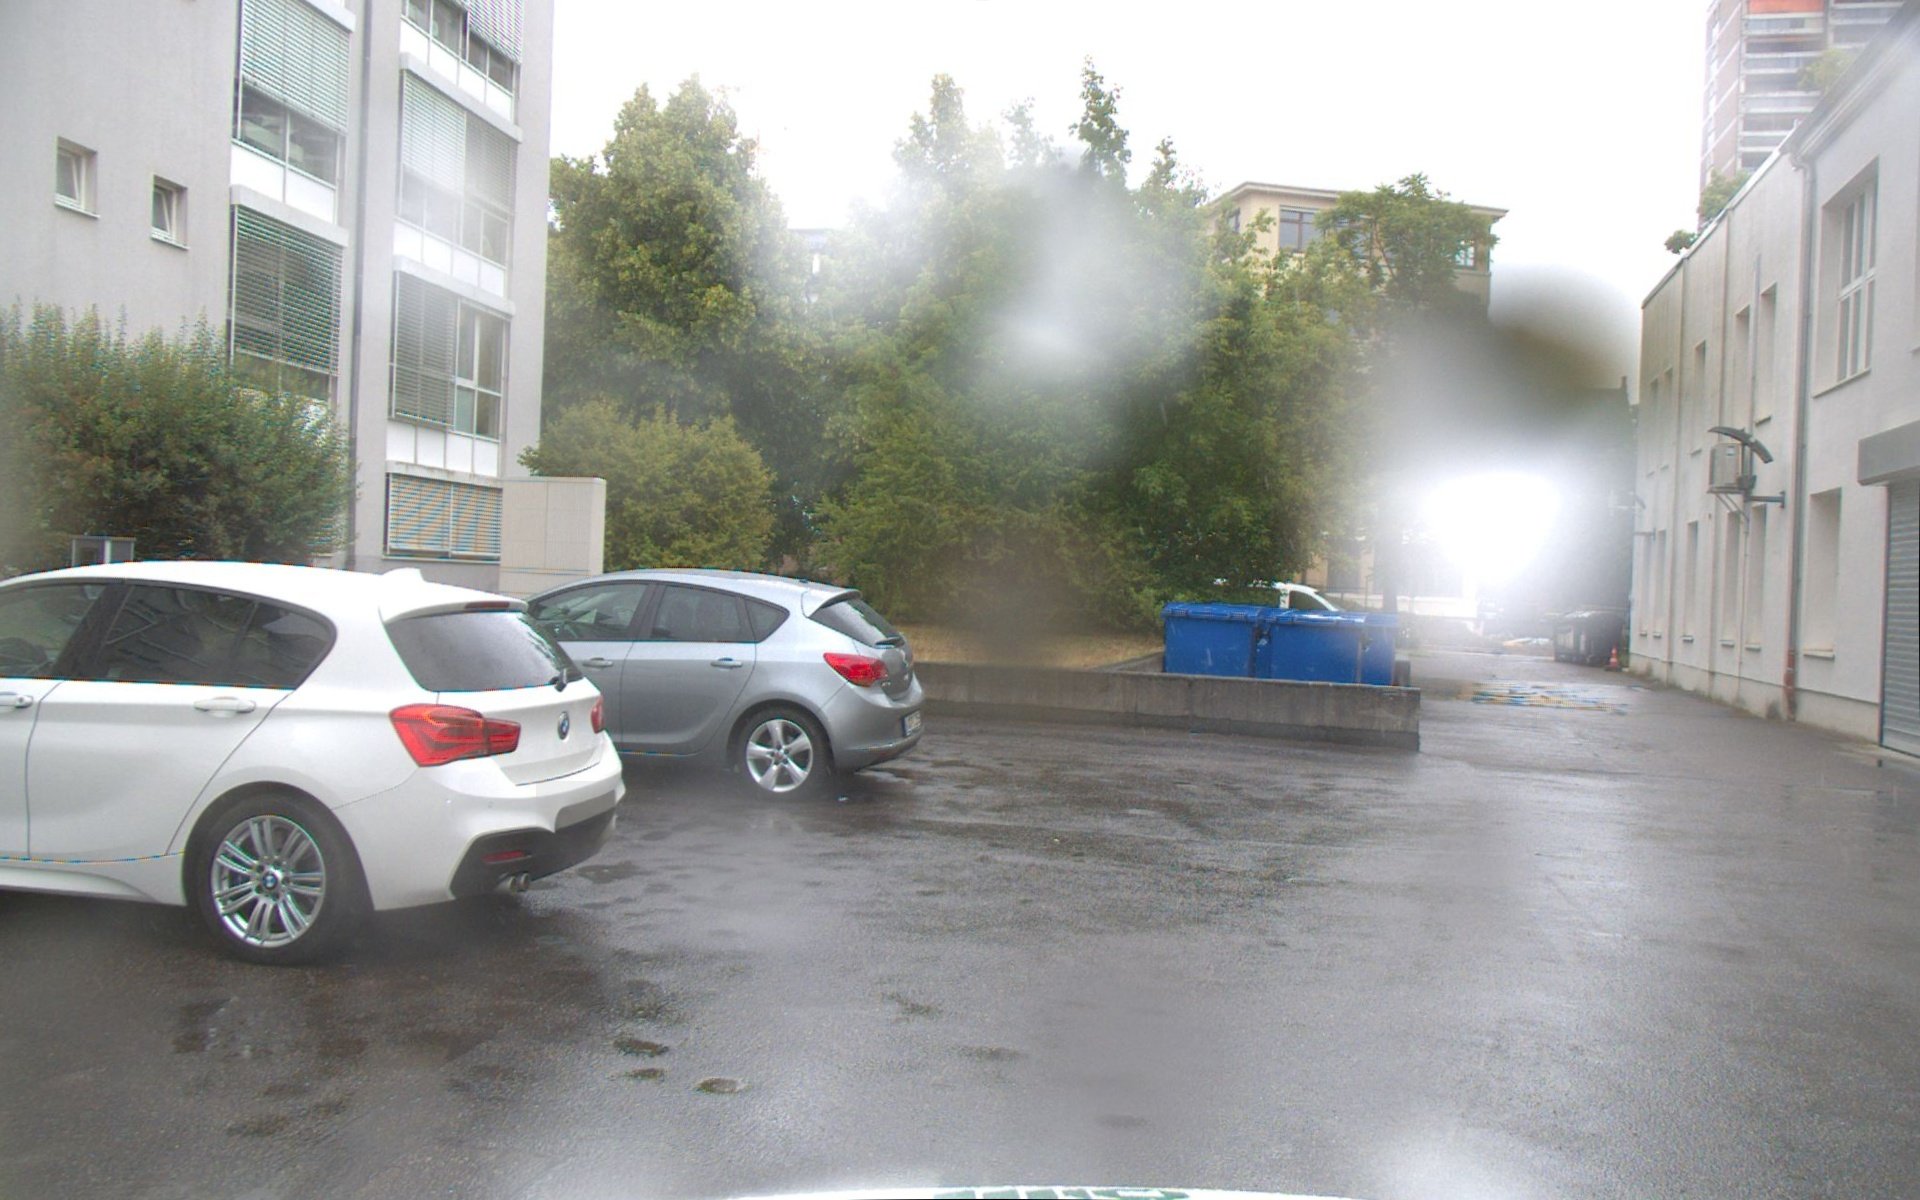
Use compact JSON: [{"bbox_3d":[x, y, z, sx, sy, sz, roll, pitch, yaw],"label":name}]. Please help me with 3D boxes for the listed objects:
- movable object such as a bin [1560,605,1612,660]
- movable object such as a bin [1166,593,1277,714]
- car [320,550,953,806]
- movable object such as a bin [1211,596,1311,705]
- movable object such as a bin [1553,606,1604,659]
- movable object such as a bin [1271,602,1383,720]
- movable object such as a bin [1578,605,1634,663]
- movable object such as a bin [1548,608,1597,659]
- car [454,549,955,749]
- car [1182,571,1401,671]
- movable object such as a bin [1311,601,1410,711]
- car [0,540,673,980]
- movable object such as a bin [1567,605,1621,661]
[{"bbox_3d":[18.025,0.954,47.632,1.189,1.494,1.237,3,-2,13],"label":"movable object such as a bin"},{"bbox_3d":[3.287,0.641,20.728,1.177,1.360,1.118,4,3,15],"label":"movable object such as a bin"},{"bbox_3d":[-2.240,0.480,11.989,4.077,1.509,1.824,2,1,10],"label":"car"},{"bbox_3d":[4.050,0.656,22.223,1.195,1.360,1.007,2,1,15],"label":"movable object such as a bin"},{"bbox_3d":[18.310,0.972,48.981,1.189,1.462,1.260,3,-2,13],"label":"movable object such as a bin"},{"bbox_3d":[4.541,0.731,20.411,1.178,1.360,1.117,2,0,19],"label":"movable object such as a bin"},{"bbox_3d":[17.293,0.915,44.324,1.189,1.462,1.237,3,-2,13],"label":"movable object such as a bin"},{"bbox_3d":[18.632,1.027,50.323,1.189,1.462,1.260,3,-2,13],"label":"movable object such as a bin"},{"bbox_3d":[-2.269,0.388,15.163,4.078,1.356,1.824,5,2,11],"label":"car"},{"bbox_3d":[7.518,0.438,37.429,4.679,2.049,2.001,2,1,16],"label":"car"},{"bbox_3d":[5.316,0.723,21.940,1.195,1.360,1.007,2,1,15],"label":"movable object such as a bin"},{"bbox_3d":[-3.470,0.509,6.959,4.051,1.458,1.755,2,0,10],"label":"car"},{"bbox_3d":[17.622,0.928,45.989,1.189,1.462,1.295,3,-2,13],"label":"movable object such as a bin"}]
